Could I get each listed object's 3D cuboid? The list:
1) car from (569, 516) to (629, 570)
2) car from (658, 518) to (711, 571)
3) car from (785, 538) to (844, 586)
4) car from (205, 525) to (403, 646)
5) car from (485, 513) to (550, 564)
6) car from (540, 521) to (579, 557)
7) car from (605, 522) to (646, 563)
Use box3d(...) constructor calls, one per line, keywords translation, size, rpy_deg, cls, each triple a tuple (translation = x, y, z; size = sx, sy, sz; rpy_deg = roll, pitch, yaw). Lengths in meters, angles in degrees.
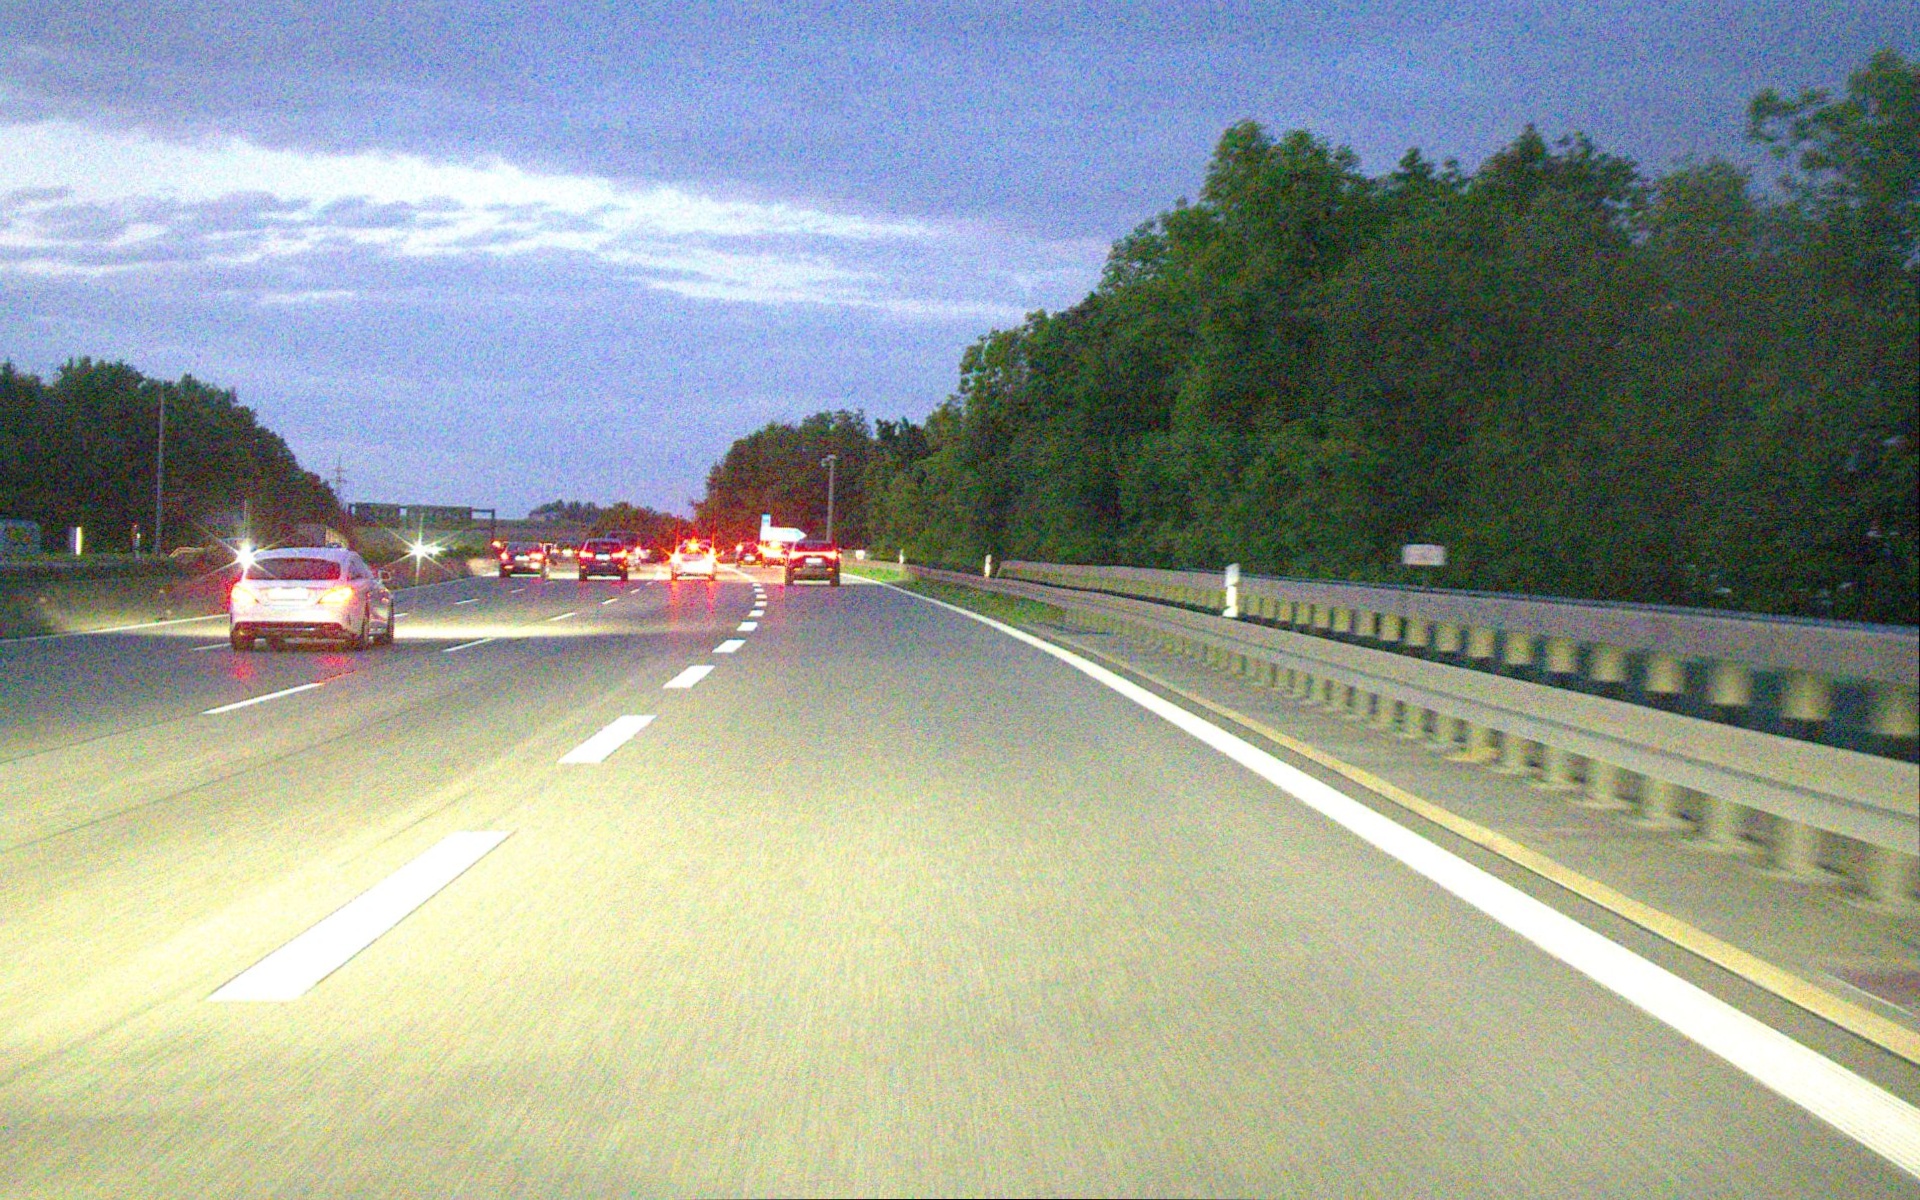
box3d(translation=(-13.624, -2.177, 129.929), size=(2.071, 2.007, 4.001), rpy_deg=(0, 1, -3), cls="car")
box3d(translation=(-10.683, -2.172, 133.566), size=(1.993, 2.007, 4.001), rpy_deg=(1, 1, -4), cls="car")
box3d(translation=(-5.123, -1.349, 120.532), size=(1.993, 1.653, 4.315), rpy_deg=(0, 1, -4), cls="car")
box3d(translation=(-9.266, -0.245, 48.924), size=(1.993, 1.637, 4.555), rpy_deg=(0, 1, -1), cls="car")
box3d(translation=(-17.722, -2.476, 137.819), size=(2.104, 2.007, 4.000), rpy_deg=(-1, 1, 0), cls="car")
box3d(translation=(-24.664, -3.771, 211.835), size=(1.993, 2.006, 4.001), rpy_deg=(4, 1, -3), cls="car")
box3d(translation=(-16.590, -2.860, 170.664), size=(1.993, 2.007, 4.001), rpy_deg=(0, 1, -5), cls="car")
